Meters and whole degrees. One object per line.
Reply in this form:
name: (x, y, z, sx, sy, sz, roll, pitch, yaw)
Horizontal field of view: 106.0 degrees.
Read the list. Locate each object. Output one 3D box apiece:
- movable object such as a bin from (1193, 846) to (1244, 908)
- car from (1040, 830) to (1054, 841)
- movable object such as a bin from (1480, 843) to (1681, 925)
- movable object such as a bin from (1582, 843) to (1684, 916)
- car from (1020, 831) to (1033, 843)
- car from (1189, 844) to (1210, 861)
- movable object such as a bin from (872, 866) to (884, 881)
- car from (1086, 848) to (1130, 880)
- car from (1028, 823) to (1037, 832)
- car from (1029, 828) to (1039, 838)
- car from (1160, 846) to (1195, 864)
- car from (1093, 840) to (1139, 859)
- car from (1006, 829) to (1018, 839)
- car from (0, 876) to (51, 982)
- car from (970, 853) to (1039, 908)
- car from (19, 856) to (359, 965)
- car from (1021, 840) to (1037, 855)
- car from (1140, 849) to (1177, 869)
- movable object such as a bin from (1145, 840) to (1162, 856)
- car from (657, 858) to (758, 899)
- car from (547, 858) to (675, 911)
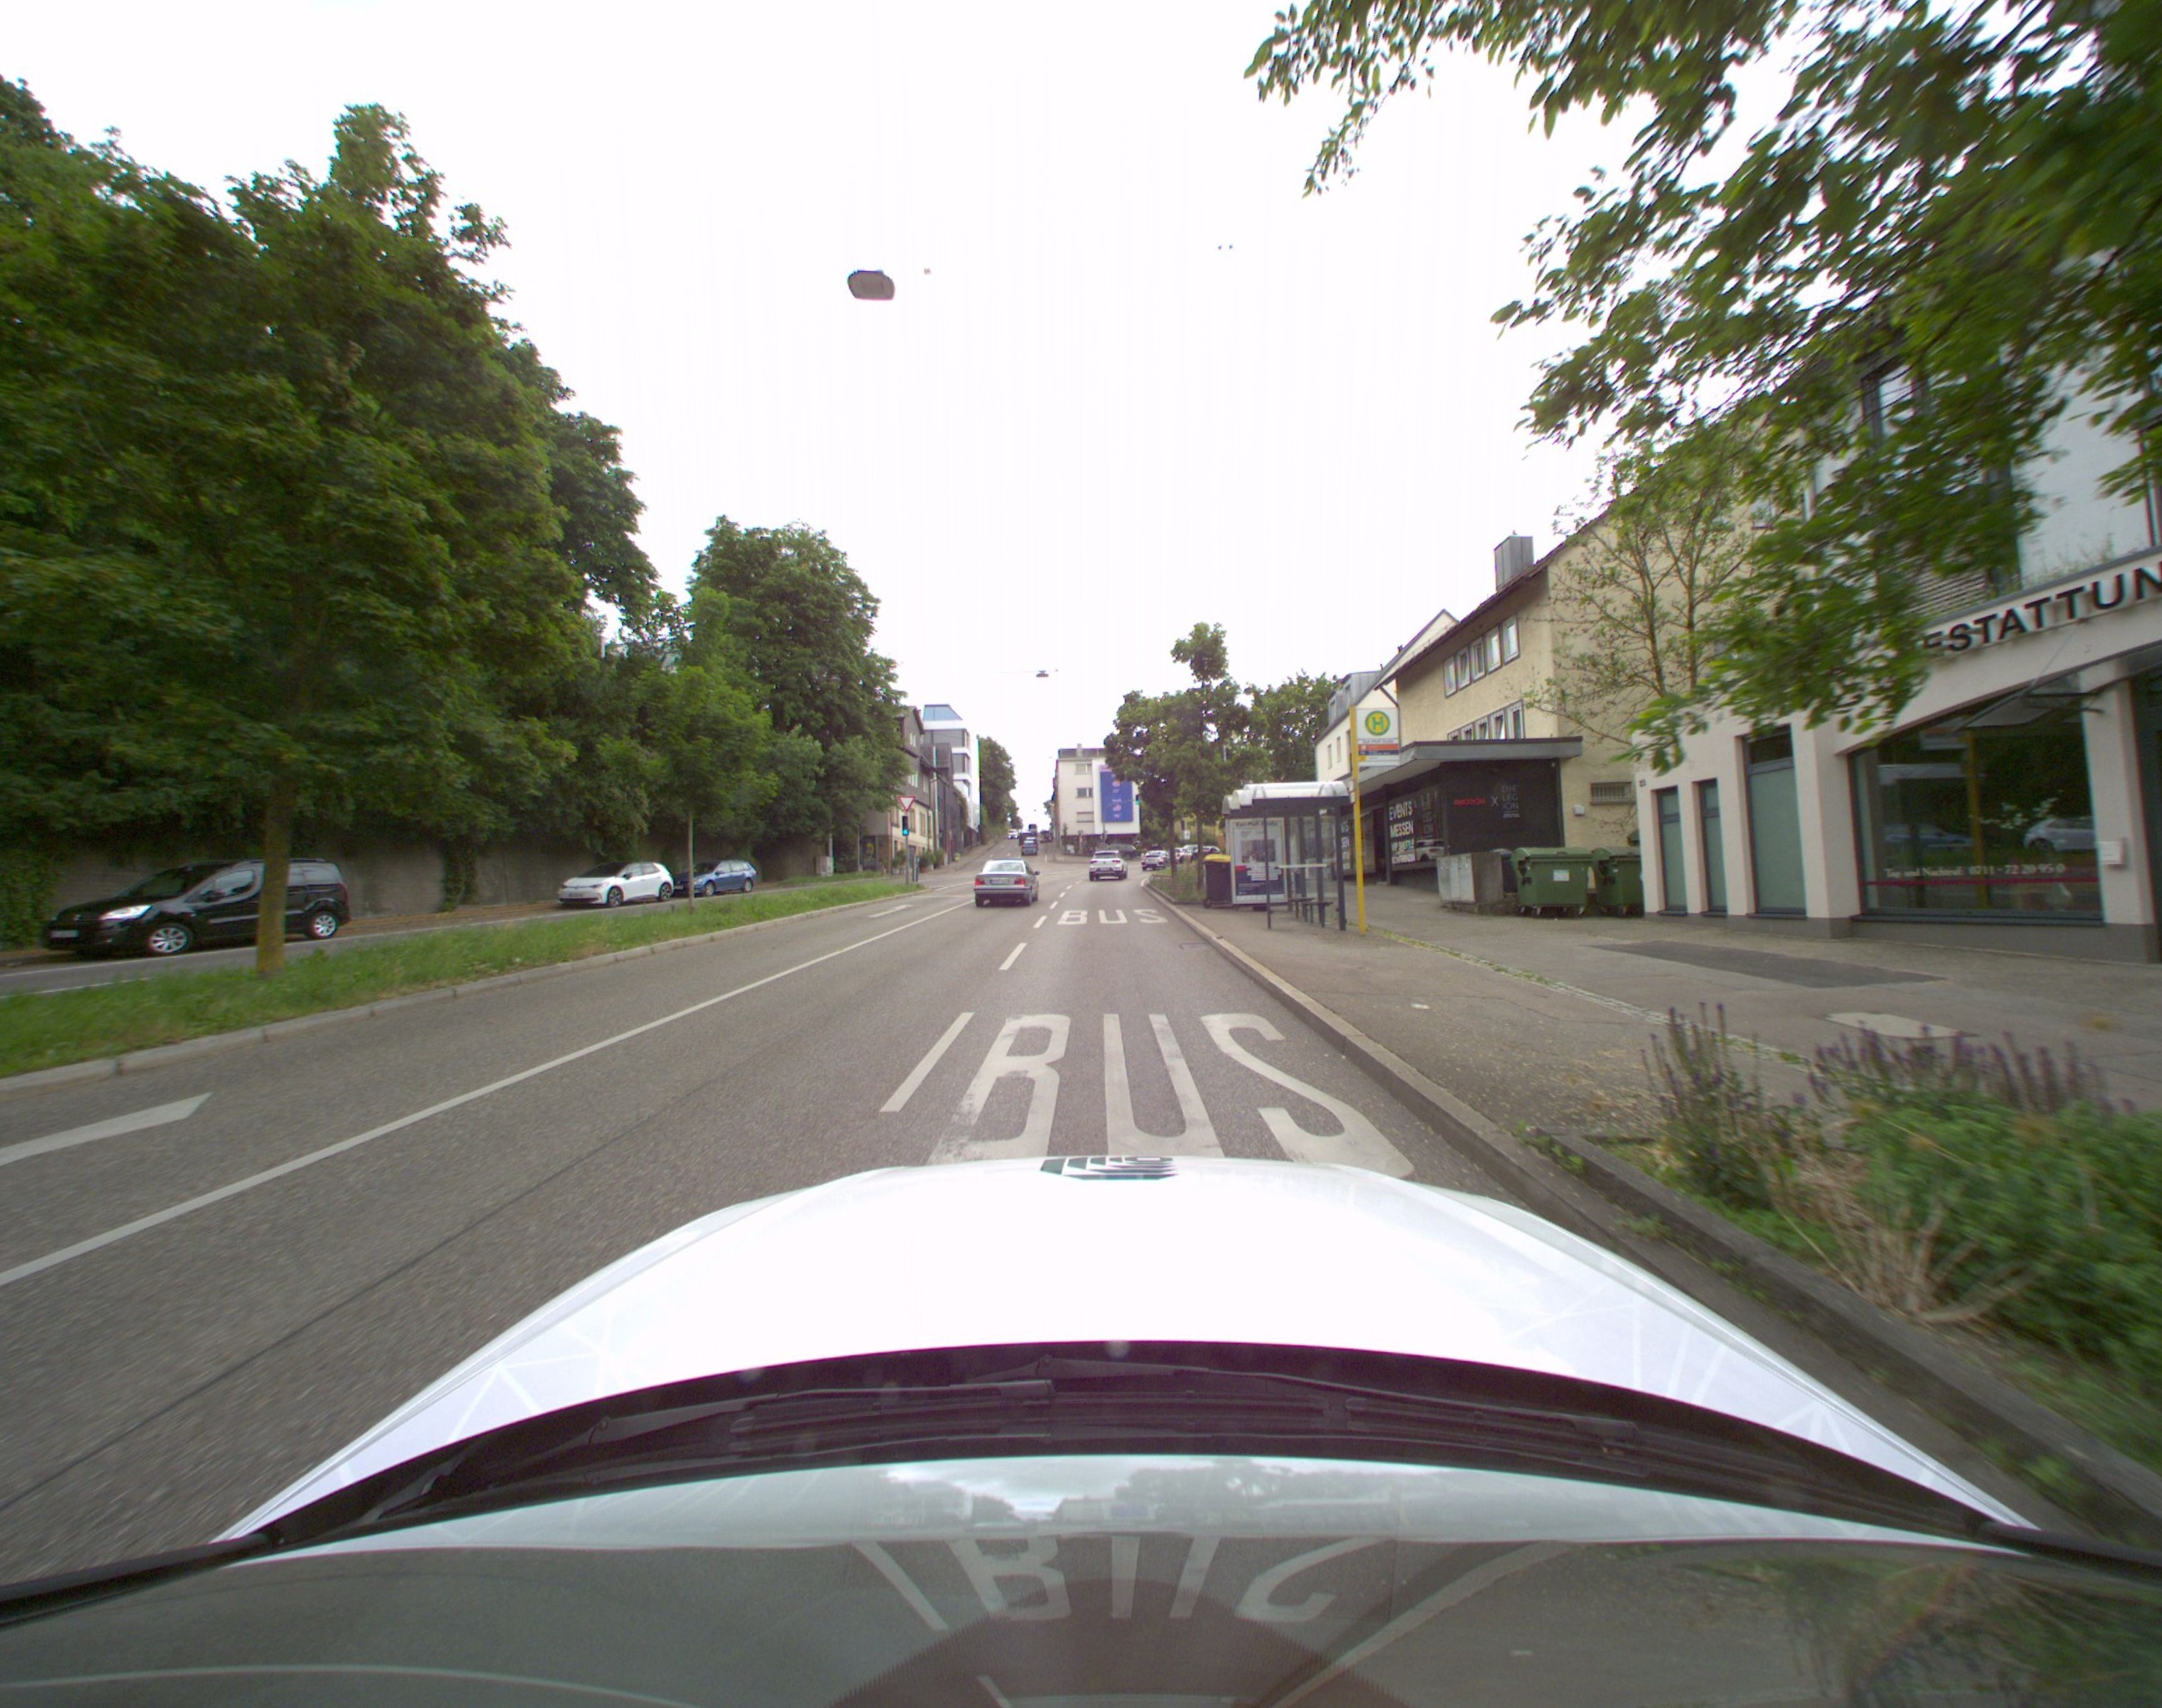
movable object such as a bin: (3.486, 0.560, 20.783, 1.081, 1.481, 1.538, -1, 0, 2)
car: (-5.143, -2.818, 123.128, 2.083, 1.613, 3.998, -1, 0, -1)
movable object such as a bin: (10.054, 0.517, 16.804, 1.880, 1.451, 4.004, -1, 1, 3)
movable object such as a bin: (11.288, 0.500, 16.715, 1.335, 1.409, 1.129, -1, 0, 3)
car: (-7.748, -2.456, 116.141, 1.775, 1.579, 3.997, -3, 0, -2)
car: (10.488, -0.158, 71.868, 1.784, 1.409, 4.010, -1, 1, 8)
movable object such as a bin: (-13.964, 1.319, 56.060, 0.534, 1.019, 0.649, -2, -2, 15)
car: (1.506, 0.514, 44.015, 1.769, 1.579, 4.011, -2, 1, 10)
car: (-10.615, -5.772, 178.665, 1.989, 2.013, 3.997, -1, 1, -2)
car: (-8.454, -3.745, 146.131, 1.775, 1.579, 3.996, -1, 0, -2)
car: (8.696, 0.069, 72.947, 1.763, 1.579, 4.025, -1, 1, 28)
car: (3.771, -0.467, 88.342, 4.677, 1.712, 2.317, 3, 3, -3)
car: (-11.871, -3.520, 140.948, 1.878, 1.567, 4.386, -2, 3, -3)
car: (-18.197, 1.212, 11.259, 1.960, 1.656, 4.539, -1, 0, 5)
car: (-2.272, 0.749, 25.181, 1.700, 1.464, 4.001, -1, 1, 1)
car: (-17.794, 1.005, 16.664, 1.771, 1.843, 4.494, -1, 1, 5)
car: (-5.836, -0.739, 91.740, 1.775, 1.579, 3.997, -1, 1, -2)
car: (5.760, 0.345, 60.475, 1.765, 1.409, 4.020, 0, 1, 20)
movable object such as a bin: (8.273, -0.652, 92.687, 1.751, 1.779, 1.860, -2, 0, 11)
car: (-15.629, 0.980, 34.368, 1.702, 1.528, 4.313, -1, 1, 9)
car: (-16.545, 1.026, 28.919, 1.771, 1.628, 4.178, -1, 1, 6)
